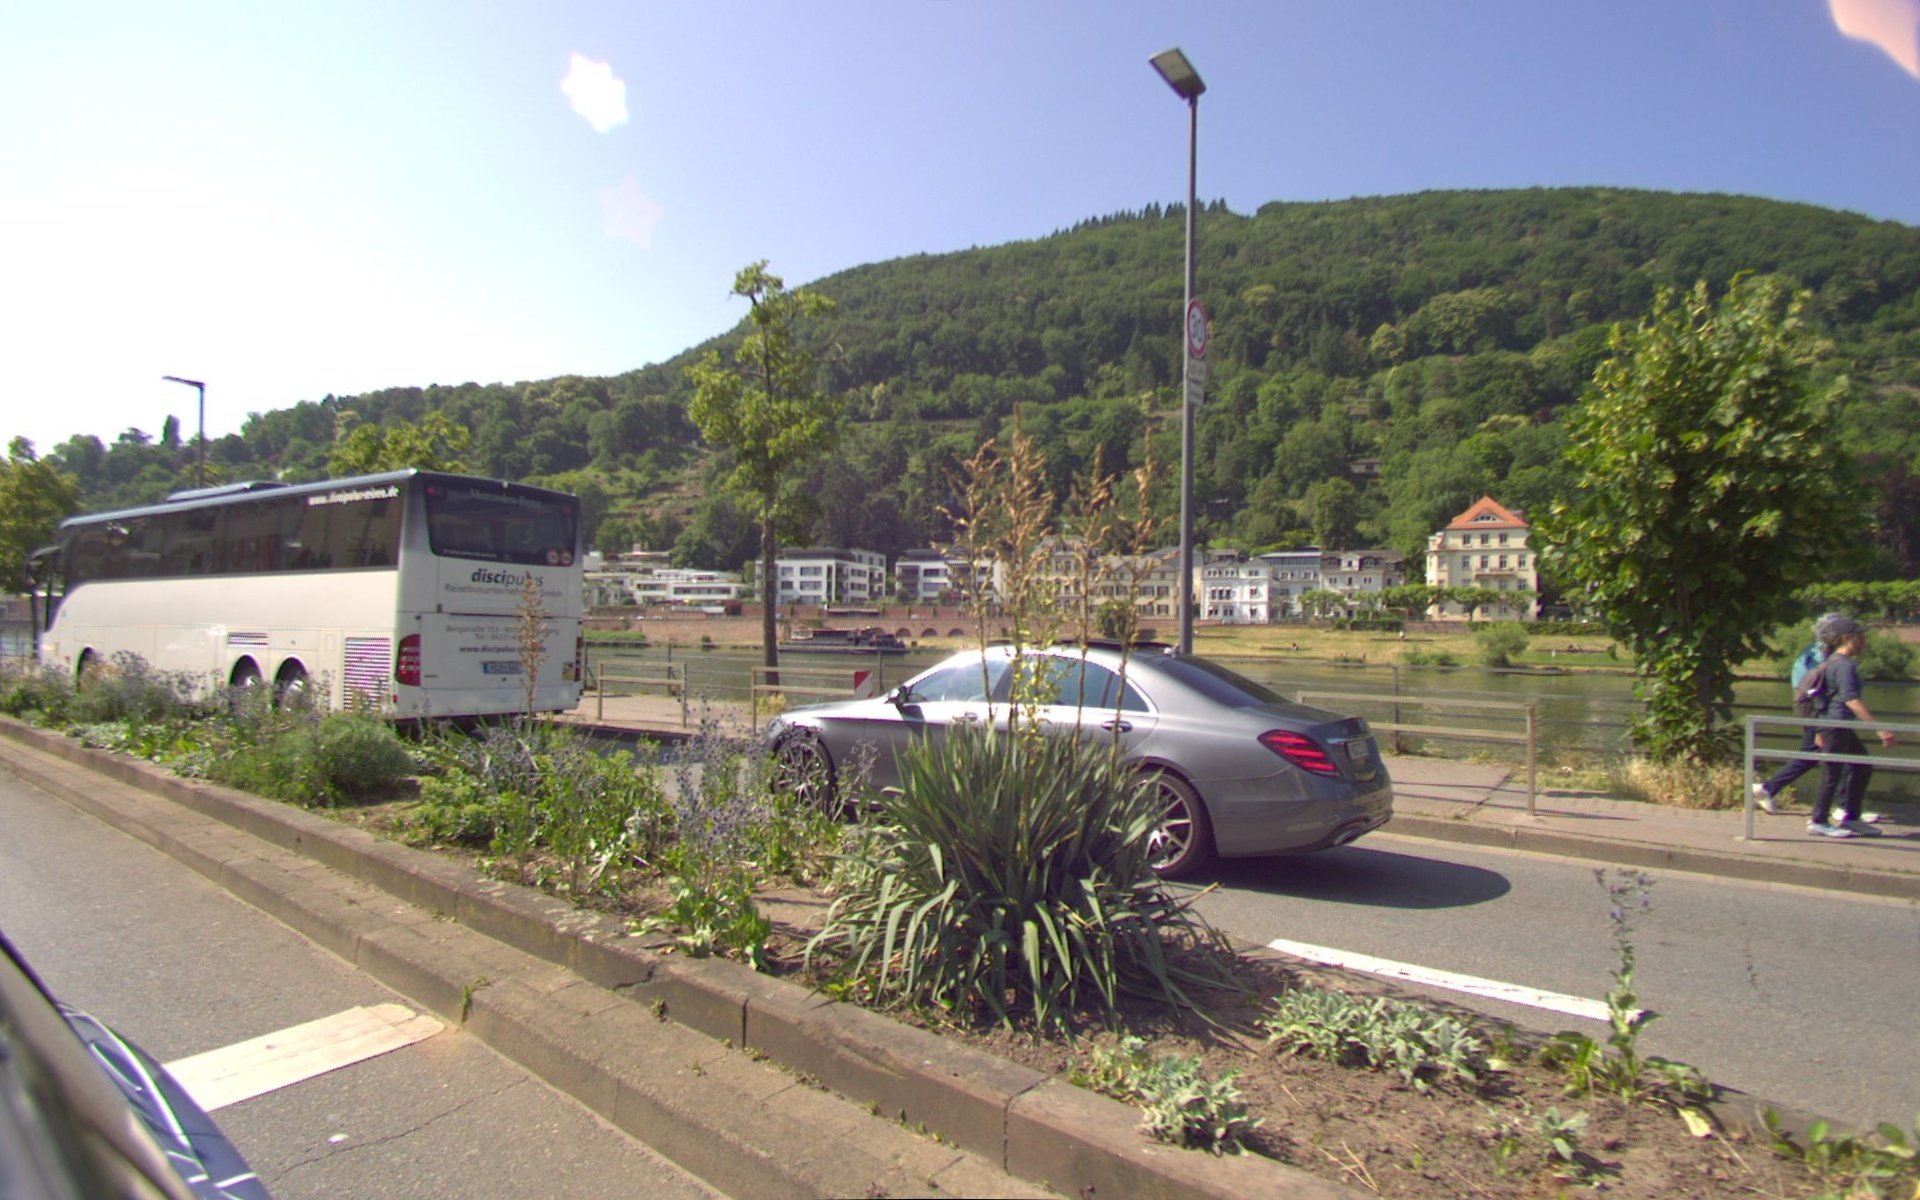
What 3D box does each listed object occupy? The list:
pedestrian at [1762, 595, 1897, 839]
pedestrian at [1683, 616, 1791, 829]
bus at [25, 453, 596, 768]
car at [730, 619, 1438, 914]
[{"bbox_3d":[7.099,0.901,8.301,0.693,1.872,0.756,-1,0,31],"label":"pedestrian"},{"bbox_3d":[6.226,0.944,8.137,0.640,1.612,0.536,-1,0,34],"label":"pedestrian"},{"bbox_3d":[-11.080,0.134,16.205,12.946,3.591,2.610,0,-2,34],"label":"bus"},{"bbox_3d":[0.765,1.028,7.903,5.144,1.611,1.977,-1,-5,34],"label":"car"}]
